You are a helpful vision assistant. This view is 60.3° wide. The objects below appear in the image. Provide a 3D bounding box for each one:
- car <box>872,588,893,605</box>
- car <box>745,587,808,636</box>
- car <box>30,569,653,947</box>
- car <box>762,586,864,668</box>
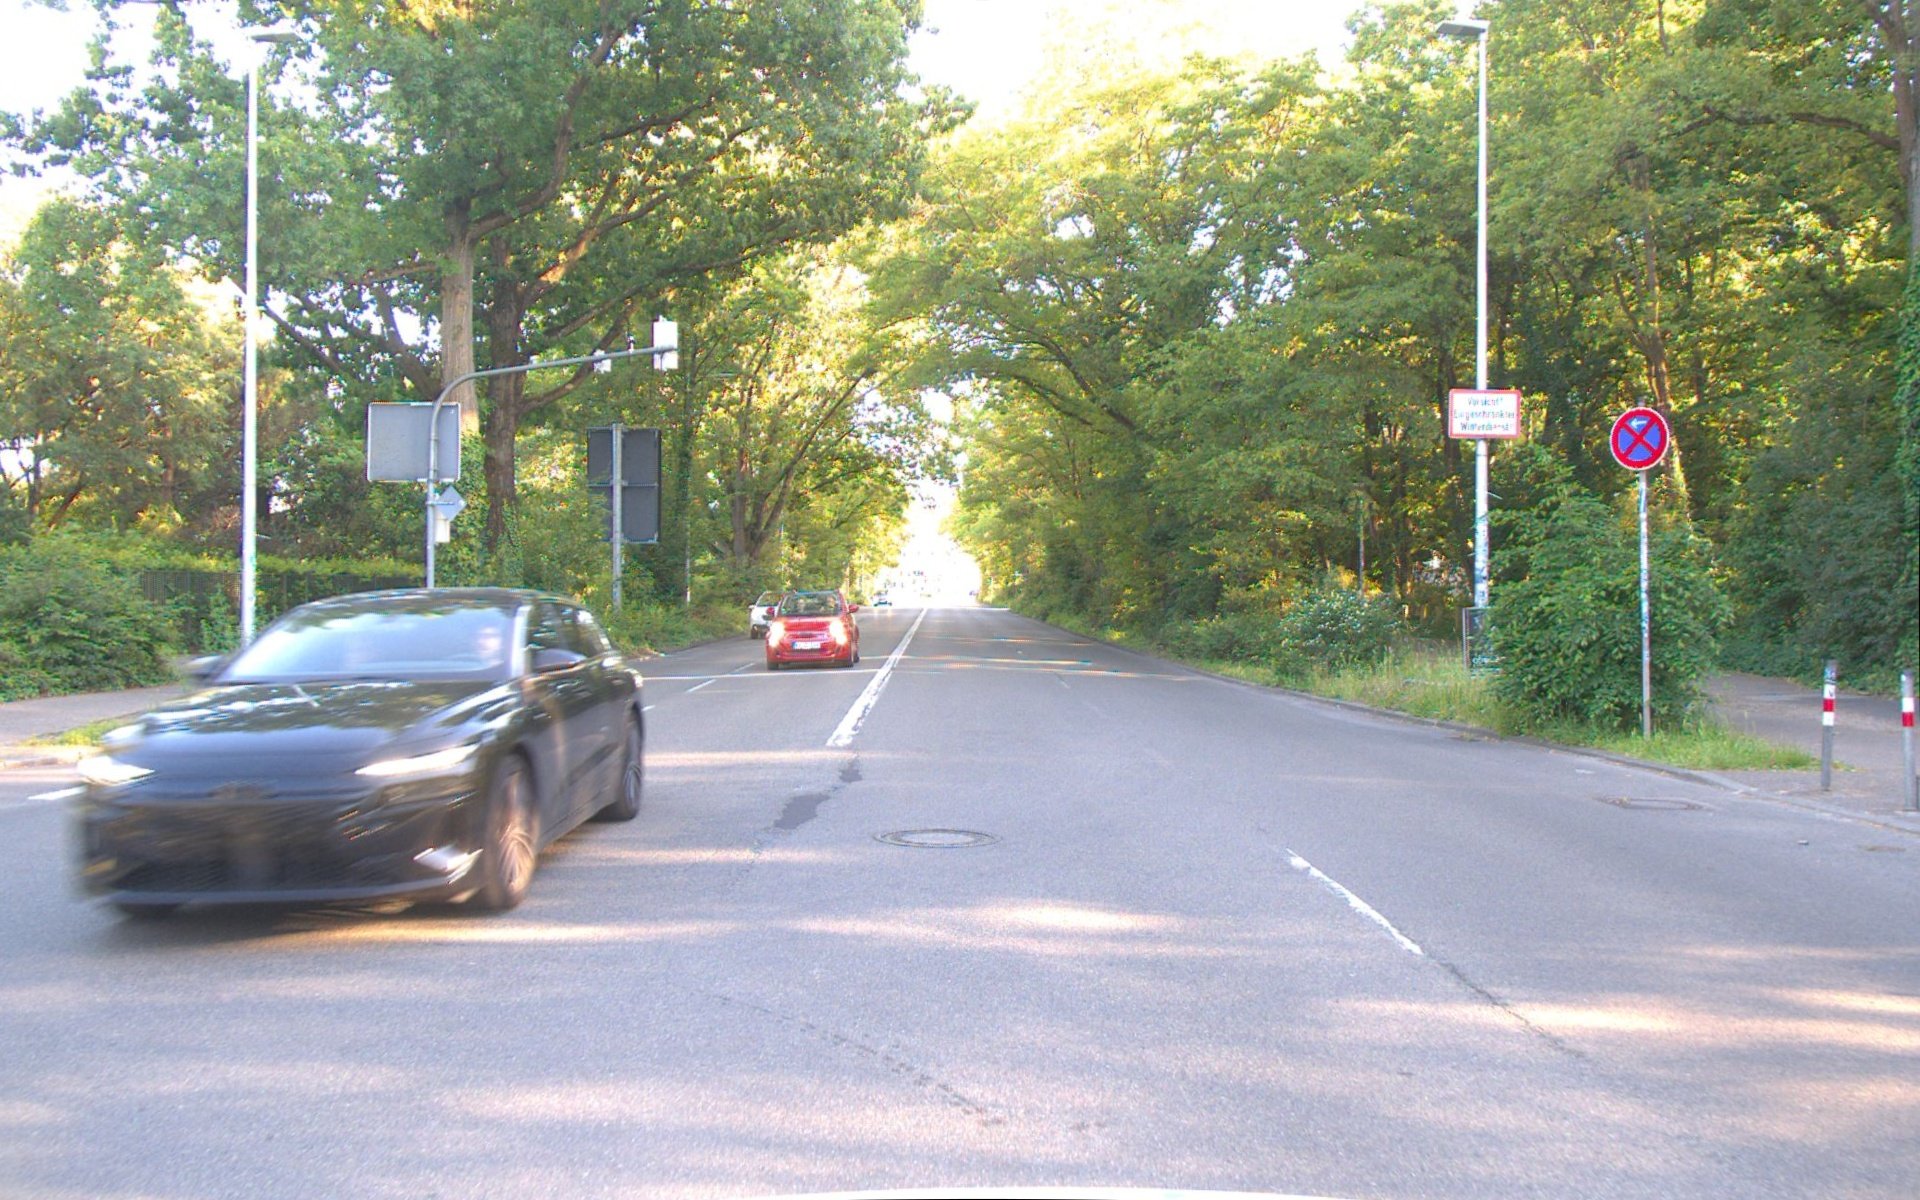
[{"bbox_3d":[-7.089,-0.345,151.593,1.761,1.533,4.363,-1,0,-2],"label":"car"},{"bbox_3d":[-6.111,0.367,55.458,1.761,1.533,4.363,-1,0,-2],"label":"car"},{"bbox_3d":[-2.954,0.643,9.016,1.849,1.533,4.363,-1,0,-2],"label":"car"},{"bbox_3d":[-2.897,0.498,33.294,1.761,1.533,4.363,-1,0,-2],"label":"car"}]
